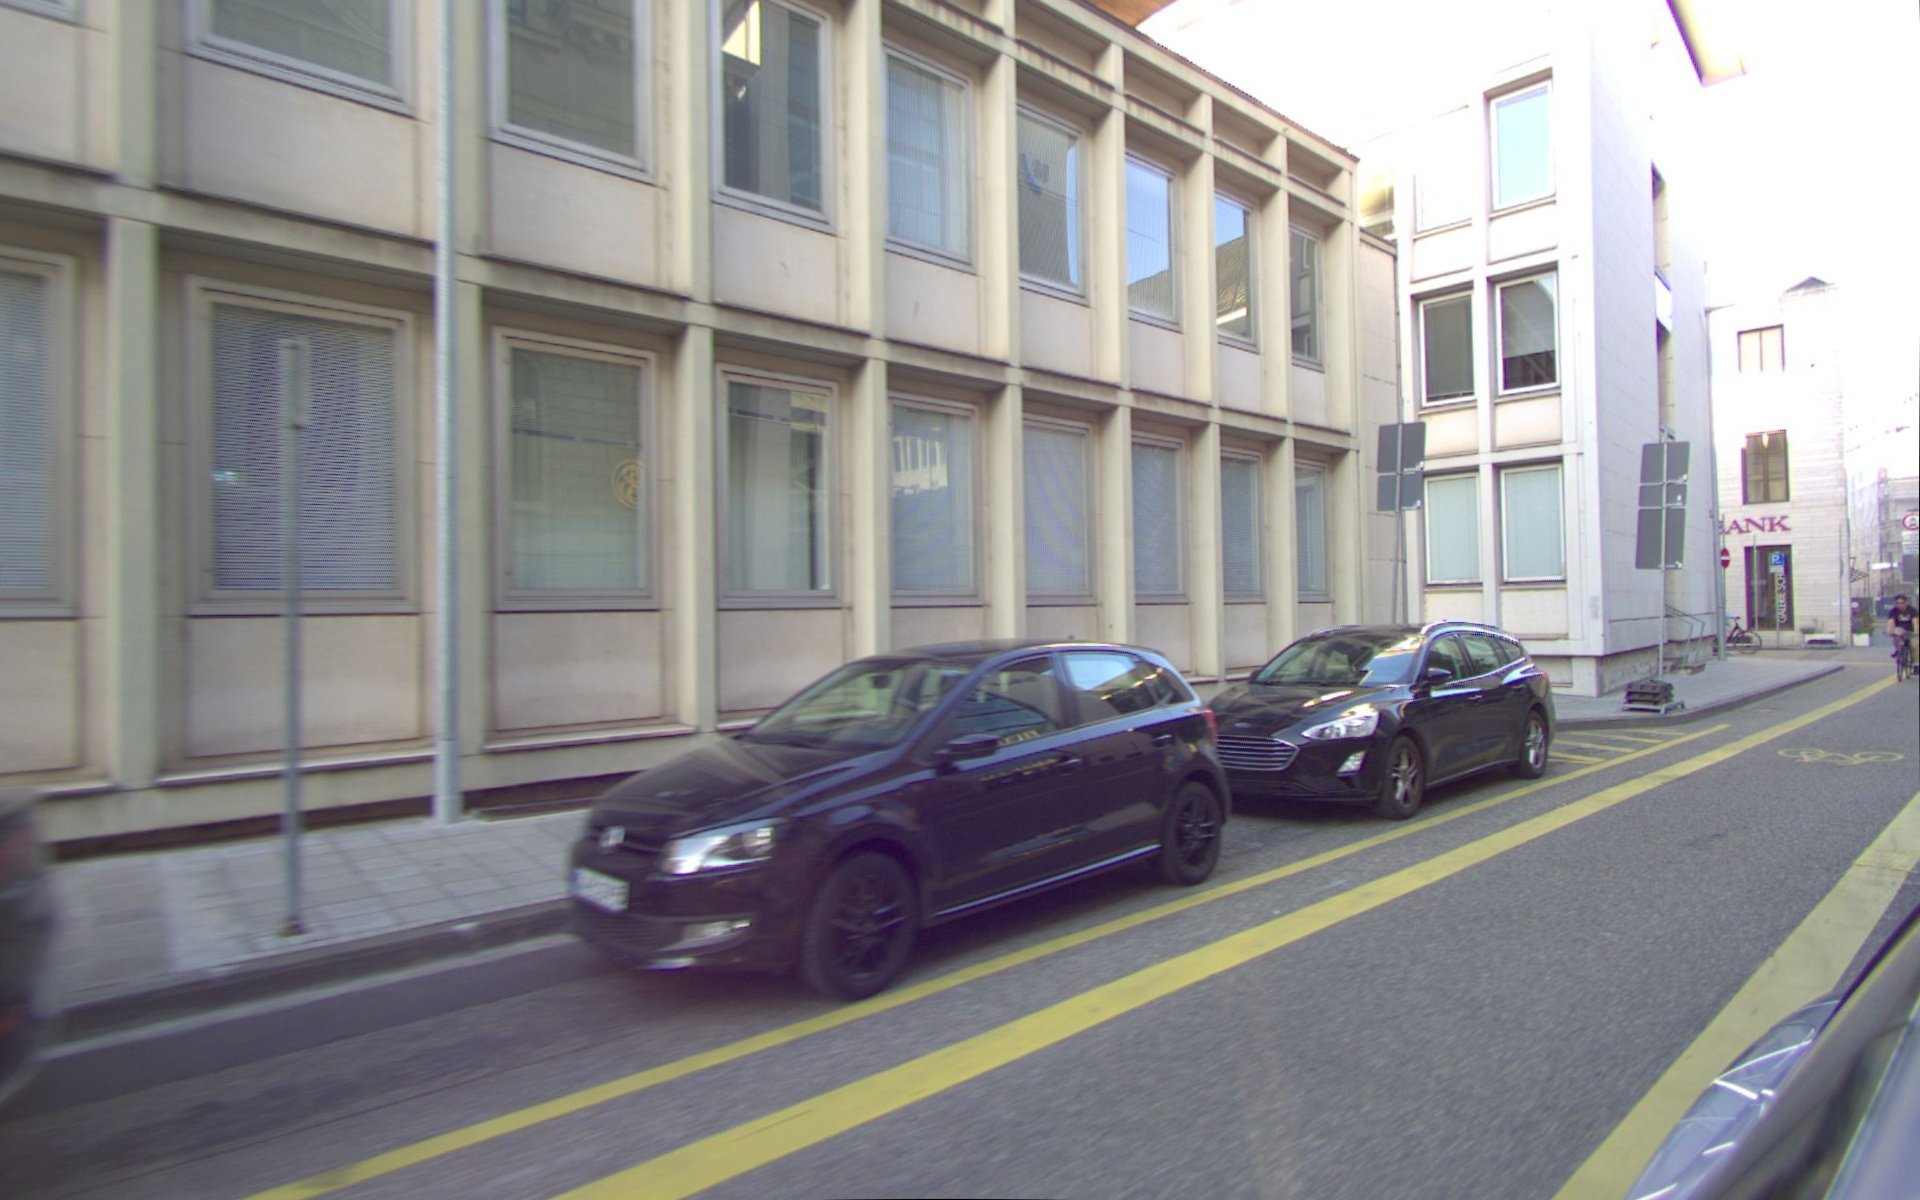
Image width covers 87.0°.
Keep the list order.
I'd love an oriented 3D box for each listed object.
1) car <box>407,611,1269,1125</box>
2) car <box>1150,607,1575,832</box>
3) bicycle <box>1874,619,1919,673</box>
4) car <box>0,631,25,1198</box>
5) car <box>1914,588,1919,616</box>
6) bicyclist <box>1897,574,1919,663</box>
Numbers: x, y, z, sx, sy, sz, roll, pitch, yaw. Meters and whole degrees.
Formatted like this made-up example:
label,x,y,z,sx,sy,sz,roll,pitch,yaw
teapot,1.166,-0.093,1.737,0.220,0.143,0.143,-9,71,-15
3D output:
label,x,y,z,sx,sy,sz,roll,pitch,yaw
car,-0.336,0.911,5.329,4.216,1.498,1.783,-2,-2,-42
car,3.729,0.865,9.005,4.215,1.499,1.784,0,-3,-42
bicycle,18.988,0.897,20.029,1.782,0.986,0.512,-2,0,-19
car,-4.617,0.875,1.521,4.655,1.520,1.826,0,-3,-42
car,60.631,0.094,62.532,2.168,1.683,3.942,-1,0,40
bicyclist,19.086,0.356,20.078,0.540,1.753,0.502,-1,0,-18
